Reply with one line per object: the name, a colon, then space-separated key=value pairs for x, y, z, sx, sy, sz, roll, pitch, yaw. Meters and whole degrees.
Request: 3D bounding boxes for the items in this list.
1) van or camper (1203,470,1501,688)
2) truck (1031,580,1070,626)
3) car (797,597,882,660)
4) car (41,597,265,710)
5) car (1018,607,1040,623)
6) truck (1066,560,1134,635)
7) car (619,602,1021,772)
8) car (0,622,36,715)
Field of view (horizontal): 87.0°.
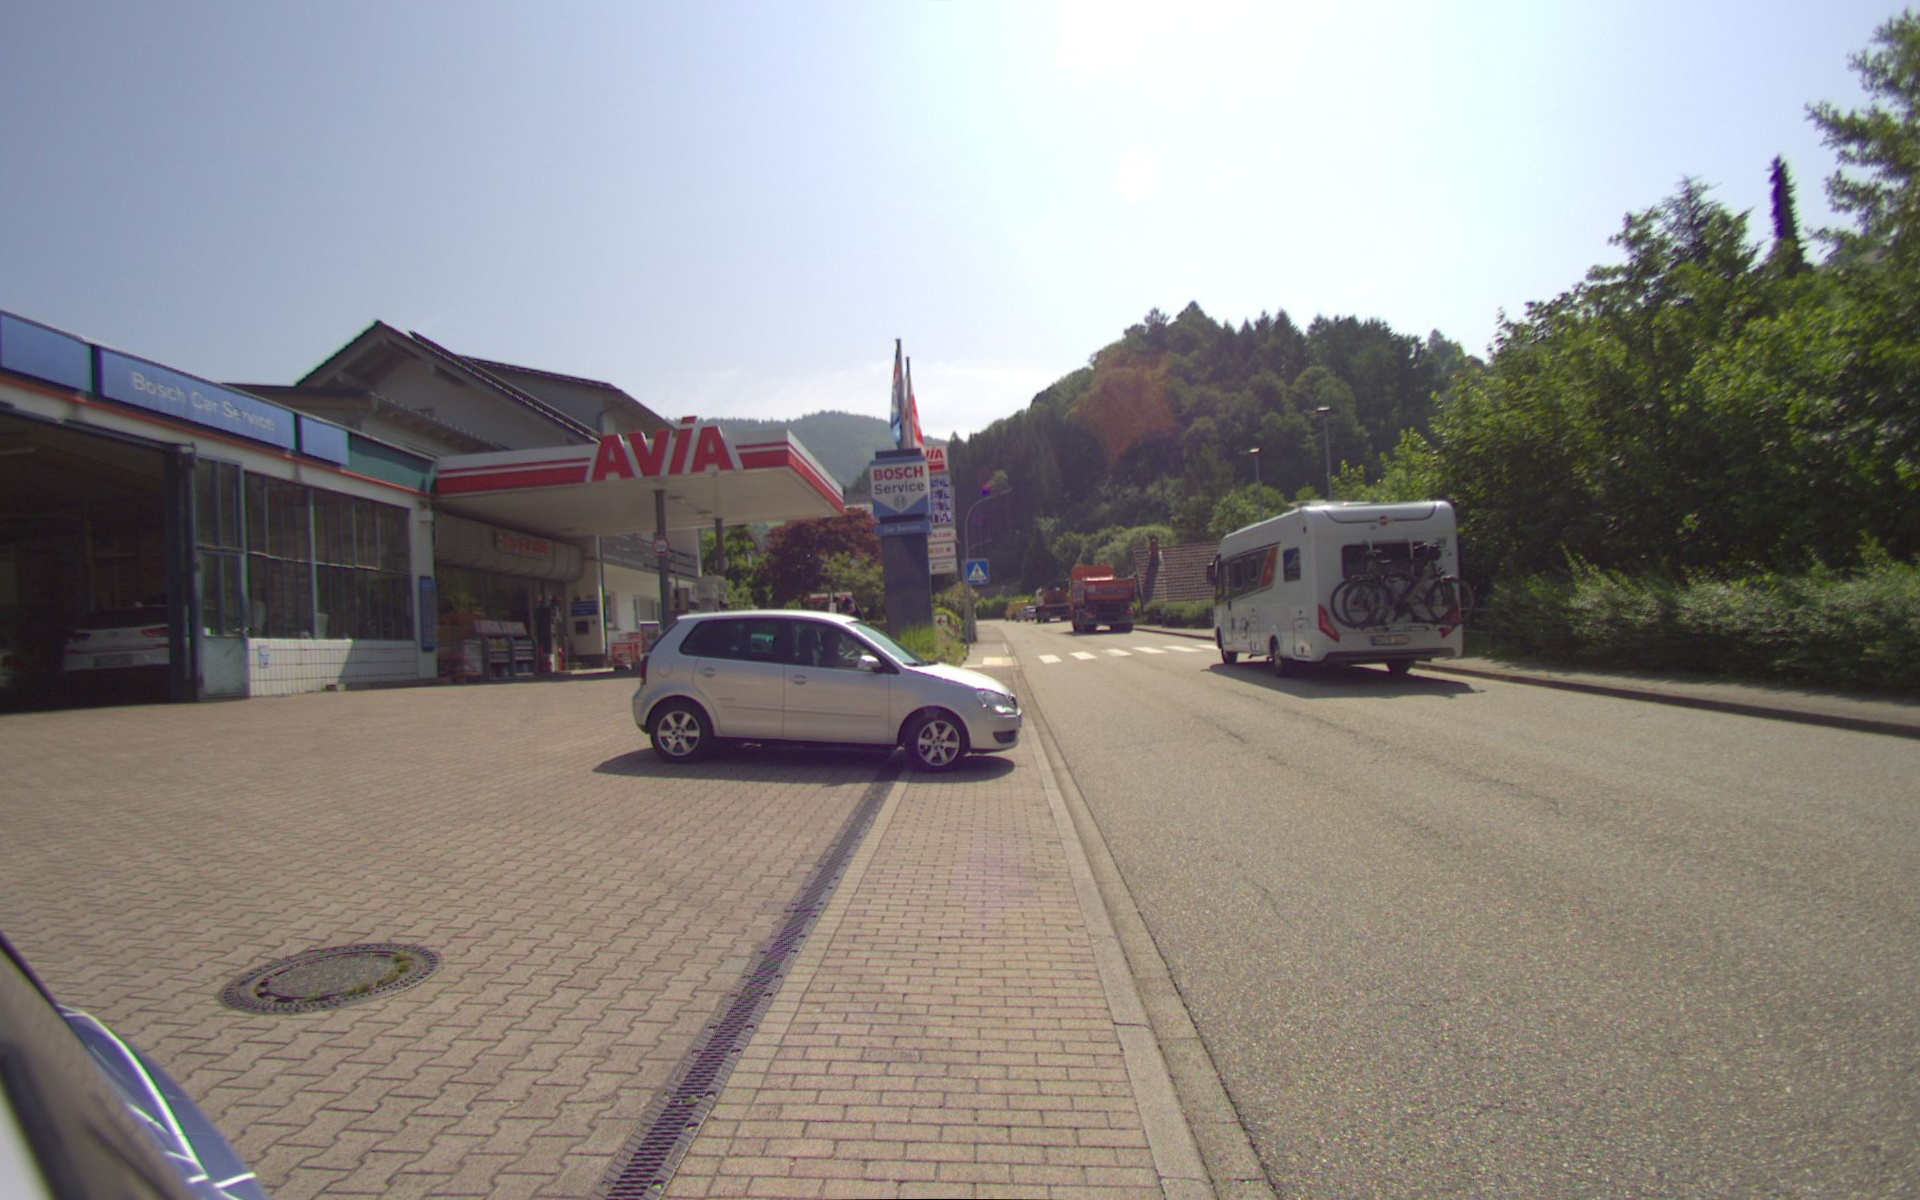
van or camper: x=6.495 y=-0.215 z=18.323 sx=2.334 sy=2.975 sz=8.045 roll=-3 pitch=-1 yaw=2
truck: x=7.653 y=0.256 z=86.444 sx=2.616 sy=3.609 sz=7.770 roll=-2 pitch=0 yaw=1
car: x=-3.210 y=0.728 z=27.544 sx=1.675 sy=1.589 sz=3.908 roll=0 pitch=0 yaw=3
car: x=-13.609 y=0.822 z=17.359 sx=1.579 sy=1.701 sz=3.941 roll=0 pitch=0 yaw=-15
car: x=6.639 y=1.431 z=97.855 sx=1.763 sy=1.586 sz=3.599 roll=0 pitch=0 yaw=-2
truck: x=7.268 y=-0.102 z=53.581 sx=2.617 sy=3.609 sz=8.188 roll=-2 pitch=0 yaw=2
car: x=-1.271 y=0.788 z=10.070 sx=3.710 sy=1.493 sz=1.593 roll=1 pitch=0 yaw=6
car: x=-16.484 y=1.220 z=16.737 sx=1.524 sy=1.417 sz=3.485 roll=-1 pitch=-5 yaw=-38
